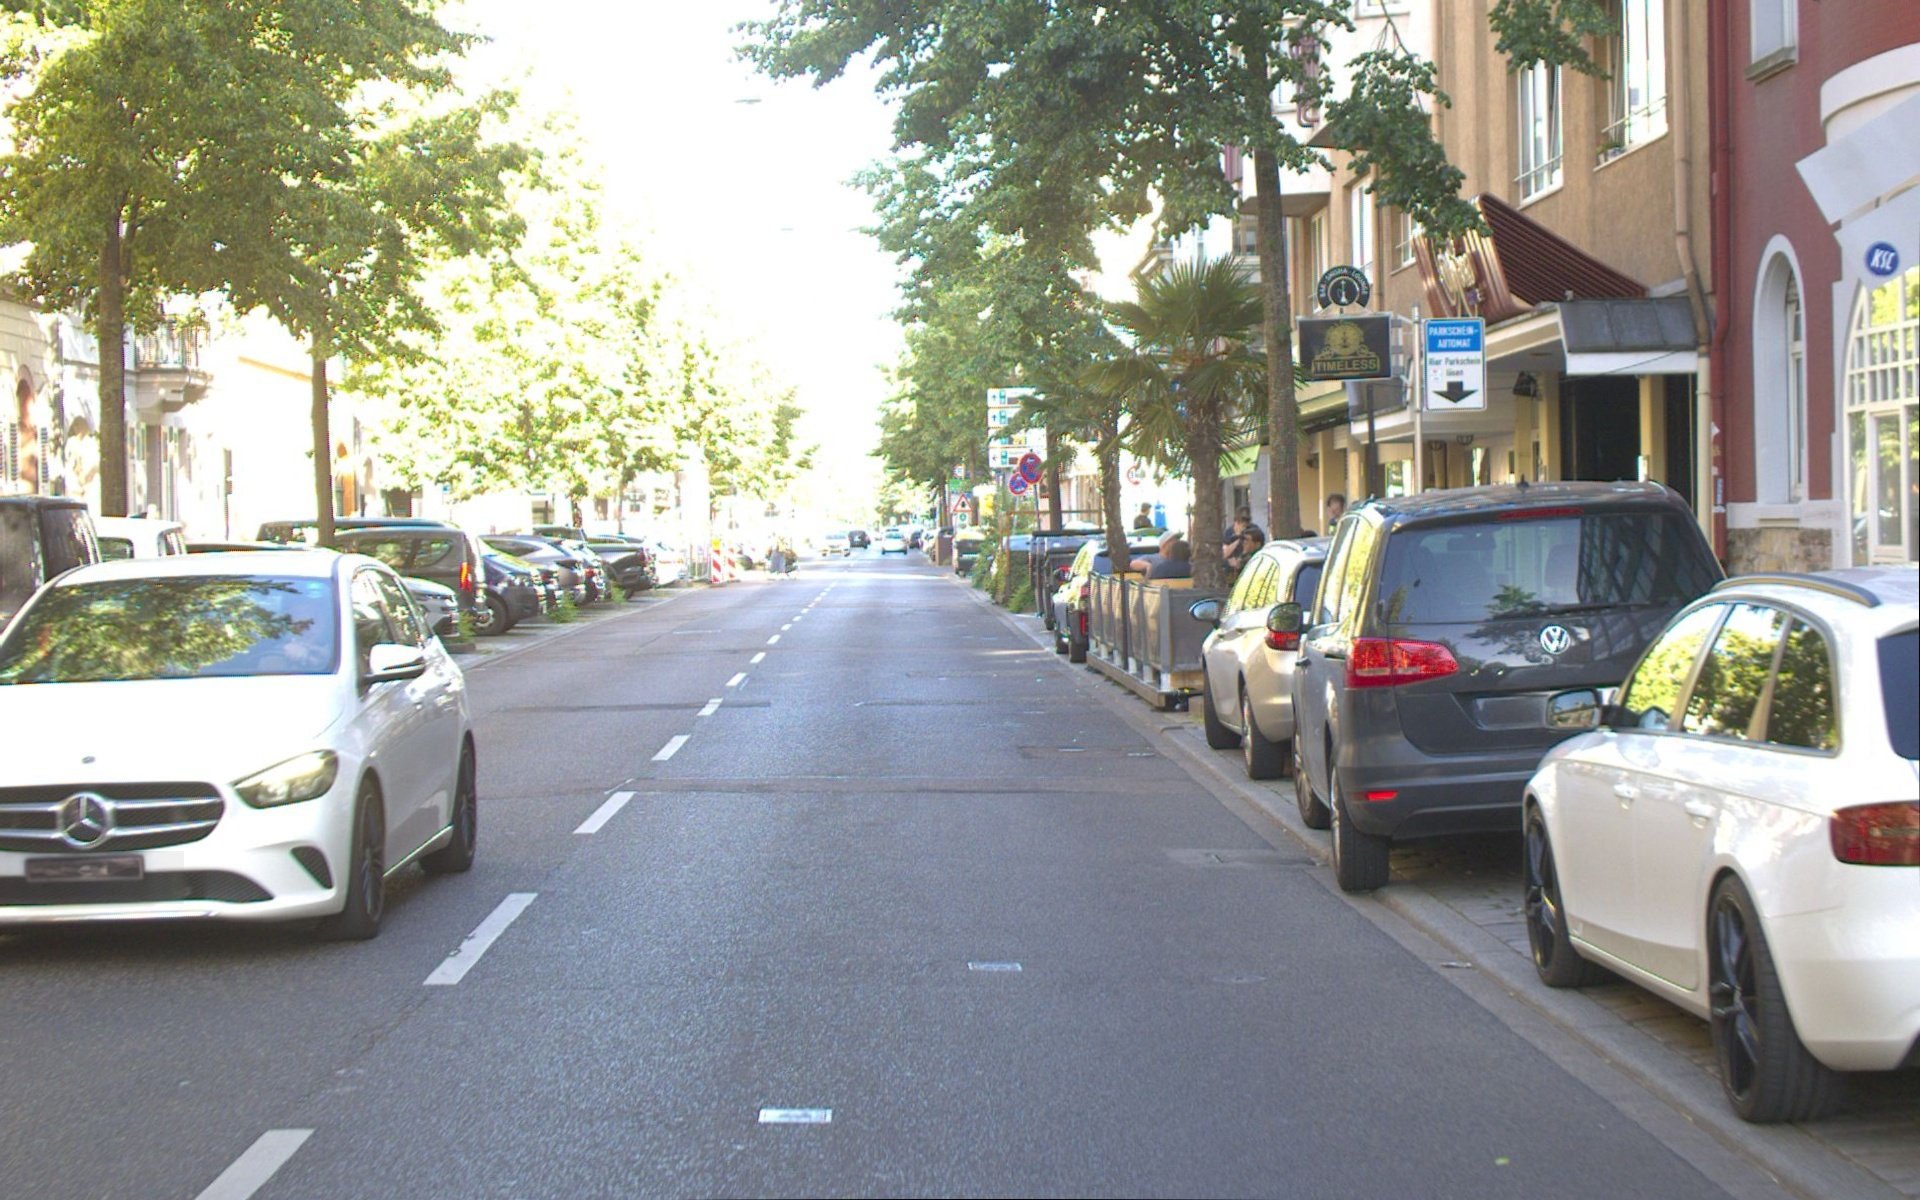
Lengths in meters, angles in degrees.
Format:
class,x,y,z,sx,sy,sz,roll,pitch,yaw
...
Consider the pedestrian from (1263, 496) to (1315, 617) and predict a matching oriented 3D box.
class,x,y,z,sx,sy,sz,roll,pitch,yaw
pedestrian,4.529,-0.607,47.364,0.616,1.636,0.762,-2,1,2

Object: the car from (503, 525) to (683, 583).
class,x,y,z,sx,sy,sz,roll,pitch,yaw
car,-9.776,-1.237,91.804,4.680,1.460,1.808,-1,1,-4

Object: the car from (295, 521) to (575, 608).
class,x,y,z,sx,sy,sz,roll,pitch,yaw
car,-9.158,-0.631,60.166,4.645,1.454,1.684,-1,1,-1

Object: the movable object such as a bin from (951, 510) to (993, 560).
class,x,y,z,sx,sy,sz,roll,pitch,yaw
movable object such as a bin,0.388,-2.113,111.476,1.143,1.556,1.459,-2,1,7

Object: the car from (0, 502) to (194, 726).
class,x,y,z,sx,sy,sz,roll,pitch,yaw
car,-8.775,0.116,29.204,4.338,1.827,1.917,-1,1,-11

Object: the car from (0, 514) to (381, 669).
class,x,y,z,sx,sy,sz,roll,pitch,yaw
car,-9.055,-0.119,39.909,4.339,1.703,1.917,-1,1,-1

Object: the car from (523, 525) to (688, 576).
class,x,y,z,sx,sy,sz,roll,pitch,yaw
car,-10.241,-1.431,99.615,4.680,1.407,1.808,-1,1,-4

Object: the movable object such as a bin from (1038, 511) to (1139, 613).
class,x,y,z,sx,sy,sz,roll,pitch,yaw
movable object such as a bin,1.901,-0.570,50.961,1.399,1.449,1.146,-2,1,-1

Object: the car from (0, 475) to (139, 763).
class,x,y,z,sx,sy,sz,roll,pitch,yaw
car,-8.270,0.130,23.993,4.573,1.920,1.930,-1,1,2

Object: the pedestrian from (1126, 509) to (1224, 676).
class,x,y,z,sx,sy,sz,roll,pitch,yaw
pedestrian,2.027,-0.081,32.366,0.750,1.531,0.807,-1,1,14

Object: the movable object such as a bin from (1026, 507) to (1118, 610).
class,x,y,z,sx,sy,sz,roll,pitch,yaw
movable object such as a bin,1.734,-0.649,53.296,1.330,1.537,1.146,-2,1,-1

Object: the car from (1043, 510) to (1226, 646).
class,x,y,z,sx,sy,sz,roll,pitch,yaw
car,2.092,-0.315,42.416,1.822,1.467,4.912,-4,1,-1

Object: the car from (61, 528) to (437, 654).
class,x,y,z,sx,sy,sz,roll,pitch,yaw
car,-9.123,-0.139,44.375,4.466,1.535,1.917,-1,1,-2

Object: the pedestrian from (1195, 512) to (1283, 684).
class,x,y,z,sx,sy,sz,roll,pitch,yaw
pedestrian,2.531,-0.026,31.255,0.692,1.531,0.776,-2,1,0

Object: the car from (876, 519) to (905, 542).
class,x,y,z,sx,sy,sz,roll,pitch,yaw
car,-4.485,-4.469,220.821,1.792,1.406,4.001,-2,2,-1

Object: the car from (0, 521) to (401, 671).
class,x,y,z,sx,sy,sz,roll,pitch,yaw
car,-8.497,-0.060,37.430,4.466,1.535,1.917,-1,1,1

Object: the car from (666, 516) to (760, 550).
class,x,y,z,sx,sy,sz,roll,pitch,yaw
car,-10.706,-2.917,149.363,3.986,1.385,2.000,-2,2,-2

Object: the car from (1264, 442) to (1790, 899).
class,x,y,z,sx,sy,sz,roll,pitch,yaw
car,2.555,0.224,16.633,1.822,1.771,4.930,-4,1,3

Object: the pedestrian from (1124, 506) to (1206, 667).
class,x,y,z,sx,sy,sz,roll,pitch,yaw
pedestrian,2.003,-0.142,33.664,0.650,1.531,0.980,-2,1,-3

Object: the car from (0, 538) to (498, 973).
class,x,y,z,sx,sy,sz,roll,pitch,yaw
car,-3.211,0.527,14.588,1.910,1.539,4.354,-1,1,0

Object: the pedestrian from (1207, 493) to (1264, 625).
class,x,y,z,sx,sy,sz,roll,pitch,yaw
pedestrian,3.584,-0.540,44.797,0.616,1.690,0.762,-2,1,-1

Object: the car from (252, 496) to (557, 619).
class,x,y,z,sx,sy,sz,roll,pitch,yaw
car,-9.126,-0.713,56.738,4.680,1.943,1.917,-1,1,1

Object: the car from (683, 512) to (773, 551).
class,x,y,z,sx,sy,sz,roll,pitch,yaw
car,-10.940,-3.248,162.271,3.987,1.688,2.000,-1,2,4

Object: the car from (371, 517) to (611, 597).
class,x,y,z,sx,sy,sz,roll,pitch,yaw
car,-9.664,-0.892,71.065,4.680,1.566,1.808,-1,1,1

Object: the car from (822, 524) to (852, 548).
class,x,y,z,sx,sy,sz,roll,pitch,yaw
car,-7.868,-4.127,220.408,1.802,1.430,4.410,-4,1,-2

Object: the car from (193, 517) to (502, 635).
class,x,y,z,sx,sy,sz,roll,pitch,yaw
car,-9.549,-0.392,53.826,4.466,1.766,1.917,-1,1,1

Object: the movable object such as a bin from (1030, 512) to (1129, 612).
class,x,y,z,sx,sy,sz,roll,pitch,yaw
movable object such as a bin,1.807,-0.587,52.134,1.399,1.449,1.146,-2,1,-1

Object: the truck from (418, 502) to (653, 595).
class,x,y,z,sx,sy,sz,roll,pitch,yaw
truck,-9.652,-1.192,78.505,5.084,1.931,2.000,-2,1,-1

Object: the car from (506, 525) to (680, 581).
class,x,y,z,sx,sy,sz,roll,pitch,yaw
car,-10.059,-1.310,94.537,4.680,1.460,1.808,-1,1,-4

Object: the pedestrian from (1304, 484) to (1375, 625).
class,x,y,z,sx,sy,sz,roll,pitch,yaw
pedestrian,4.591,-0.551,41.601,0.502,1.690,0.630,-3,1,-38

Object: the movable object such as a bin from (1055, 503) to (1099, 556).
class,x,y,z,sx,sy,sz,roll,pitch,yaw
movable object such as a bin,3.708,-2.242,108.947,1.205,1.622,1.498,-2,1,-3

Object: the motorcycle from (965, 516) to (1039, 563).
class,x,y,z,sx,sy,sz,roll,pitch,yaw
motorcycle,1.226,-1.787,101.153,1.977,1.325,0.912,-2,2,-13

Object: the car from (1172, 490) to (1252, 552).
class,x,y,z,sx,sy,sz,roll,pitch,yaw
car,7.064,-2.222,96.755,1.901,1.642,4.294,-2,1,0

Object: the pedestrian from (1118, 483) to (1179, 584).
class,x,y,z,sx,sy,sz,roll,pitch,yaw
pedestrian,3.656,-1.287,66.558,0.926,1.929,0.760,-1,2,24

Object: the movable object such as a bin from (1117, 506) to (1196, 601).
class,x,y,z,sx,sy,sz,roll,pitch,yaw
movable object such as a bin,3.040,-0.732,53.315,1.077,1.426,1.295,-2,1,-1

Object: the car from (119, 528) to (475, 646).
class,x,y,z,sx,sy,sz,roll,pitch,yaw
car,-9.080,-0.192,47.297,4.466,1.535,1.916,-1,1,3

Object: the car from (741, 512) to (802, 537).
class,x,y,z,sx,sy,sz,roll,pitch,yaw
car,-12.617,-5.051,229.974,3.986,1.494,2.000,-2,2,-2

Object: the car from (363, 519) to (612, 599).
class,x,y,z,sx,sy,sz,roll,pitch,yaw
car,-9.351,-0.823,68.264,4.680,1.514,1.808,-1,1,1

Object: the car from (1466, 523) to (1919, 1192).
class,x,y,z,sx,sy,sz,roll,pitch,yaw
car,2.838,0.525,10.211,1.822,1.398,4.842,-4,1,-1

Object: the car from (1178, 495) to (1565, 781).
class,x,y,z,sx,sy,sz,roll,pitch,yaw
car,2.617,0.167,23.000,1.822,1.591,4.842,-4,1,-1

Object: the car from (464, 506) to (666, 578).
class,x,y,z,sx,sy,sz,roll,pitch,yaw
car,-9.617,-1.416,83.901,4.680,1.687,1.808,-1,1,1

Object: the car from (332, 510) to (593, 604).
class,x,y,z,sx,sy,sz,roll,pitch,yaw
car,-9.455,-0.830,65.534,4.680,1.706,1.808,-1,1,1

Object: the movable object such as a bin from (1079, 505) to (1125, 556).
class,x,y,z,sx,sy,sz,roll,pitch,yaw
movable object such as a bin,4.445,-2.178,107.590,1.270,1.525,1.177,-2,1,-3

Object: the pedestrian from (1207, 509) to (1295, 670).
class,x,y,z,sx,sy,sz,roll,pitch,yaw
pedestrian,2.852,-0.110,33.648,0.712,1.531,0.769,-1,1,14
